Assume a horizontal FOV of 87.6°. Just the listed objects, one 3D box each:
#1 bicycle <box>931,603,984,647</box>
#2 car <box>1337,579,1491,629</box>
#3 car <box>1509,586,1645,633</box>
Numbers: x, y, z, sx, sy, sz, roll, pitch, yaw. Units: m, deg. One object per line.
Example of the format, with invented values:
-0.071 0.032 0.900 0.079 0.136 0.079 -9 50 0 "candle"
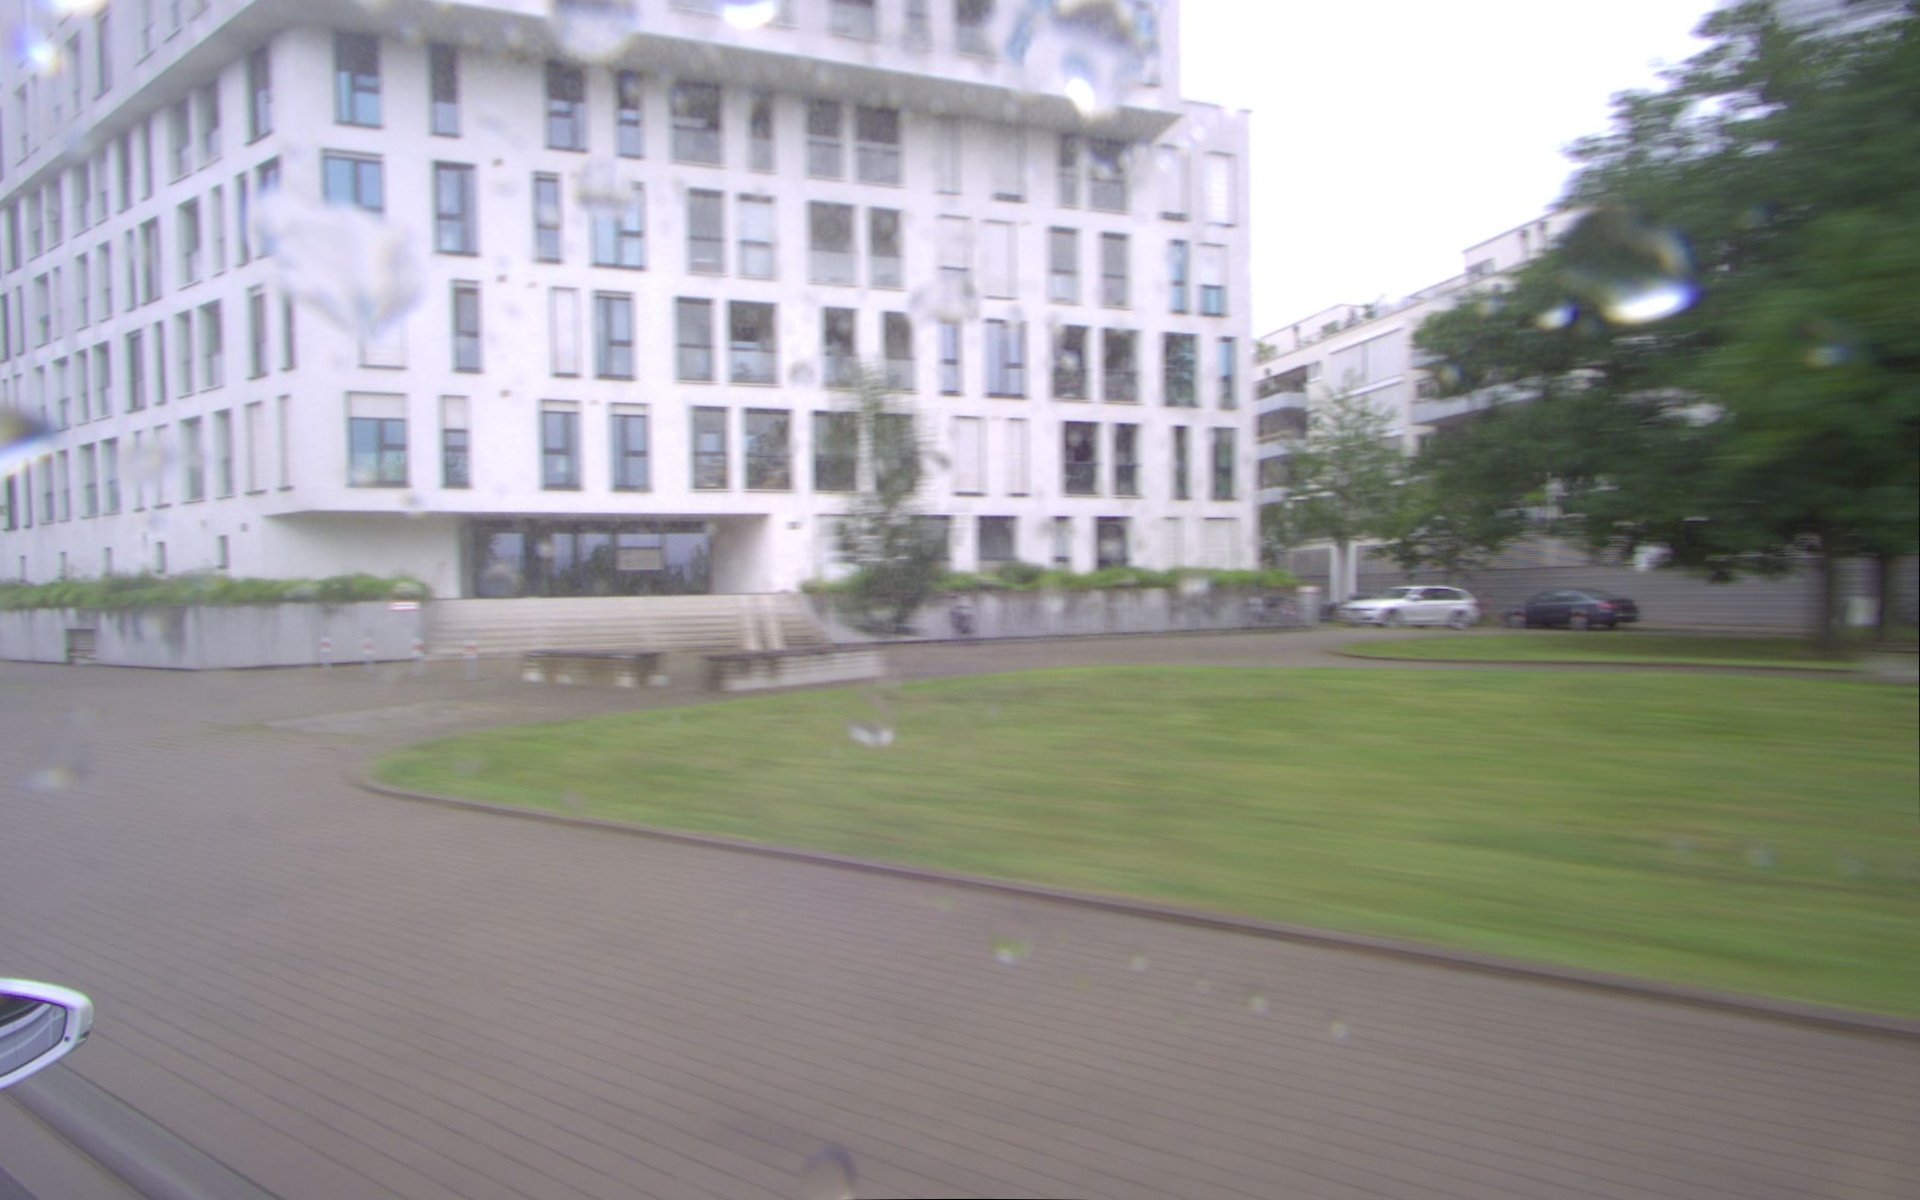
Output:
-0.088 0.607 25.256 0.712 1.047 2.068 -1 0 -18 "bicycle"
14.934 0.144 32.934 4.752 1.527 1.621 1 0 -18 "car"
22.652 0.290 36.939 1.744 1.569 4.133 -3 2 -19 "car"
